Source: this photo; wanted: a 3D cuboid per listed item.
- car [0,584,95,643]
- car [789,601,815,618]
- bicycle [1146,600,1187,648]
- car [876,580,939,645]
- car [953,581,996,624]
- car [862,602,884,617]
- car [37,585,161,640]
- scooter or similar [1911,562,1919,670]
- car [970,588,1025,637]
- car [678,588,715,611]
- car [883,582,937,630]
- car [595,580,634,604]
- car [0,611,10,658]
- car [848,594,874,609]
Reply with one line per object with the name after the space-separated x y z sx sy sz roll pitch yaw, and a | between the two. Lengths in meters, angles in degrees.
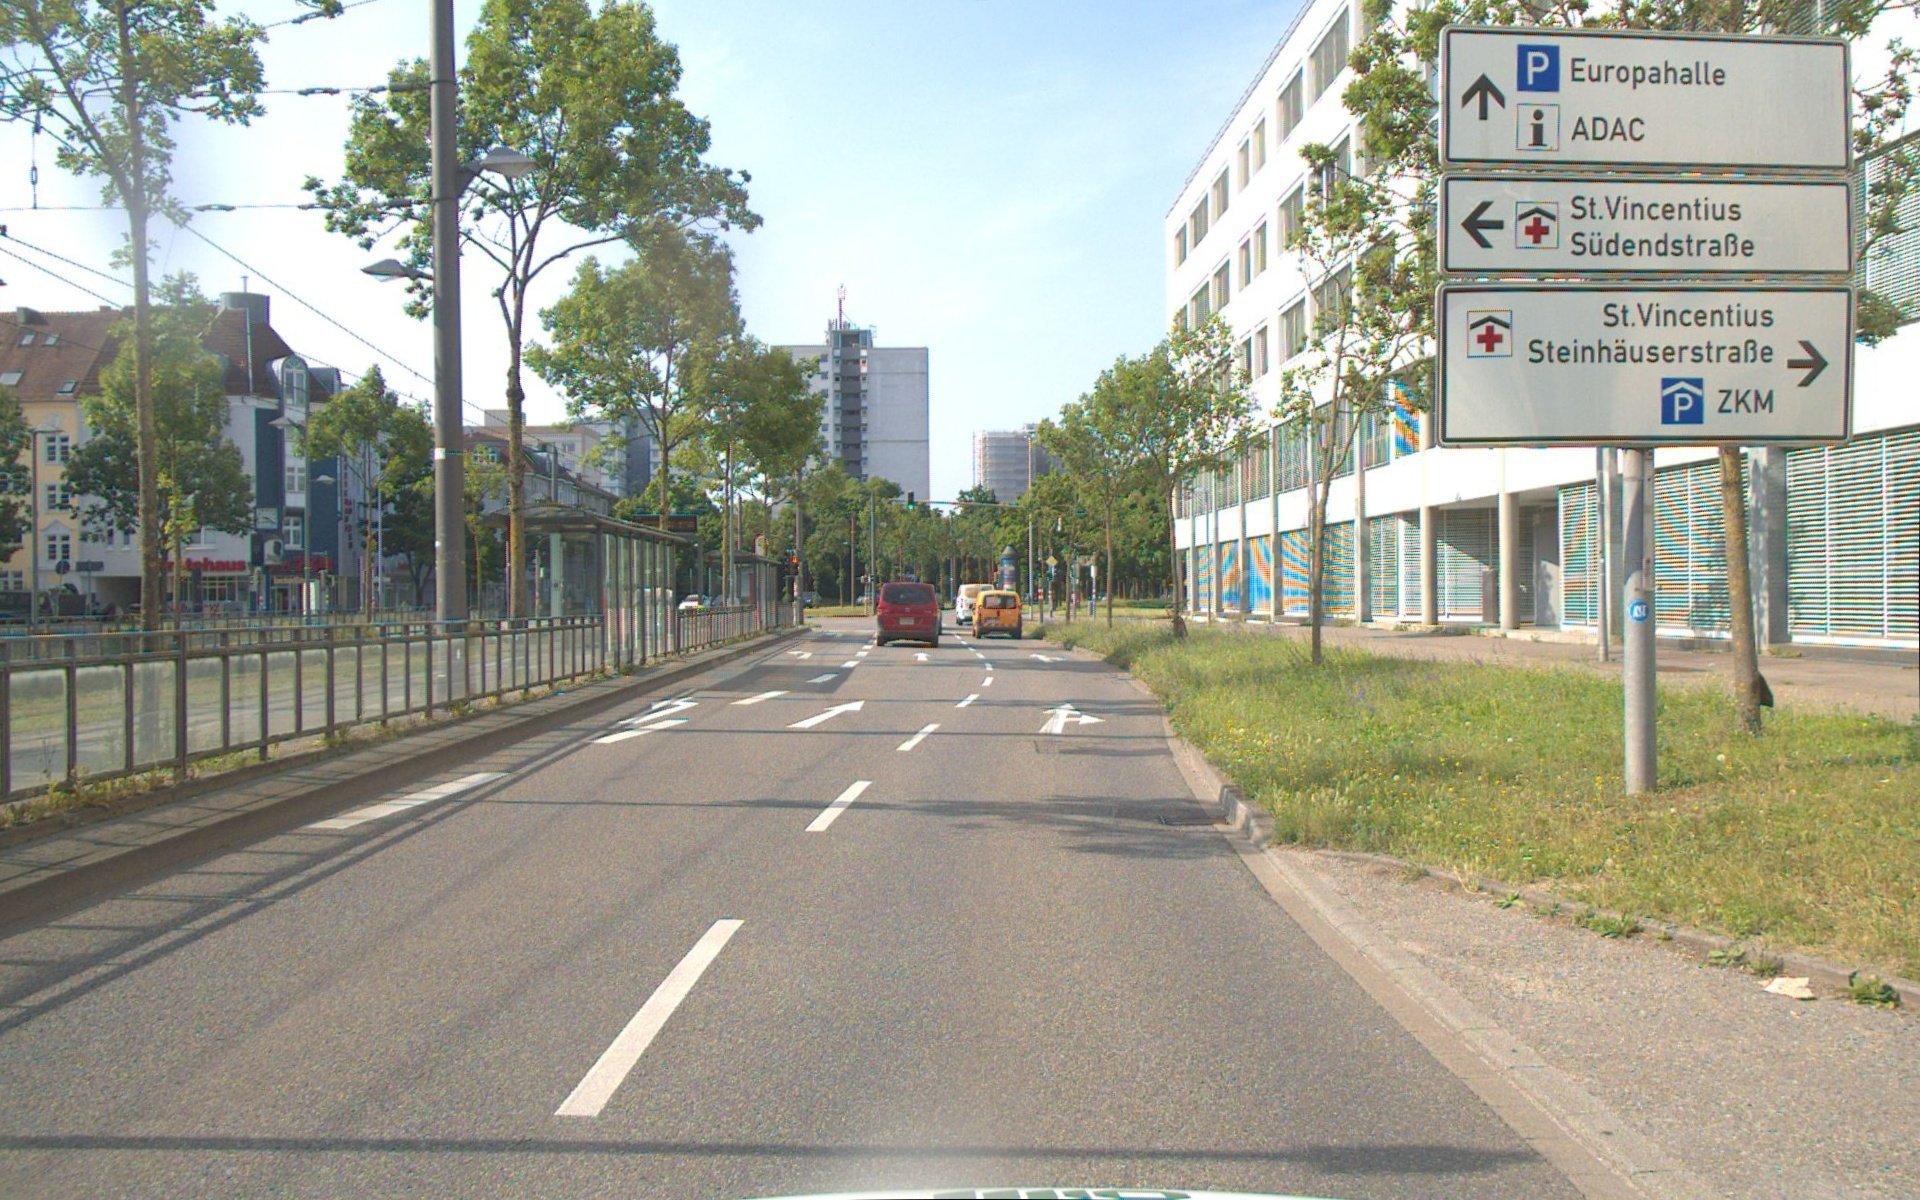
-34.043 0.468 60.327 2.318 2.066 5.308 1 0 -3 | car
-15.305 0.867 160.065 1.836 1.601 4.002 0 0 4 | car
4.642 0.531 37.232 0.605 1.035 1.879 0 0 -3 | bicycle
-1.624 0.348 50.151 1.837 1.886 3.998 0 0 -3 | car
0.714 0.125 82.403 1.953 2.049 3.998 1 0 -2 | car
-9.634 0.999 183.164 1.836 1.601 4.002 1 0 5 | car
-34.390 0.481 66.241 2.318 2.066 5.308 1 0 -3 | car
11.165 0.185 18.418 0.453 1.234 1.255 -2 0 4 | scooter or similar
1.348 0.425 60.408 1.838 1.726 3.972 0 0 -1 | car
-19.667 -0.033 123.563 1.952 1.624 4.050 1 0 2 | car
-1.936 0.231 63.955 1.953 1.735 3.998 -2 0 -2 | car
-24.134 -0.547 115.700 1.953 1.624 3.999 1 0 -1 | car
-27.751 0.942 44.135 3.902 1.266 1.941 0 0 13 | car
-11.299 0.185 189.135 1.835 1.601 4.225 -2 0 13 | car
